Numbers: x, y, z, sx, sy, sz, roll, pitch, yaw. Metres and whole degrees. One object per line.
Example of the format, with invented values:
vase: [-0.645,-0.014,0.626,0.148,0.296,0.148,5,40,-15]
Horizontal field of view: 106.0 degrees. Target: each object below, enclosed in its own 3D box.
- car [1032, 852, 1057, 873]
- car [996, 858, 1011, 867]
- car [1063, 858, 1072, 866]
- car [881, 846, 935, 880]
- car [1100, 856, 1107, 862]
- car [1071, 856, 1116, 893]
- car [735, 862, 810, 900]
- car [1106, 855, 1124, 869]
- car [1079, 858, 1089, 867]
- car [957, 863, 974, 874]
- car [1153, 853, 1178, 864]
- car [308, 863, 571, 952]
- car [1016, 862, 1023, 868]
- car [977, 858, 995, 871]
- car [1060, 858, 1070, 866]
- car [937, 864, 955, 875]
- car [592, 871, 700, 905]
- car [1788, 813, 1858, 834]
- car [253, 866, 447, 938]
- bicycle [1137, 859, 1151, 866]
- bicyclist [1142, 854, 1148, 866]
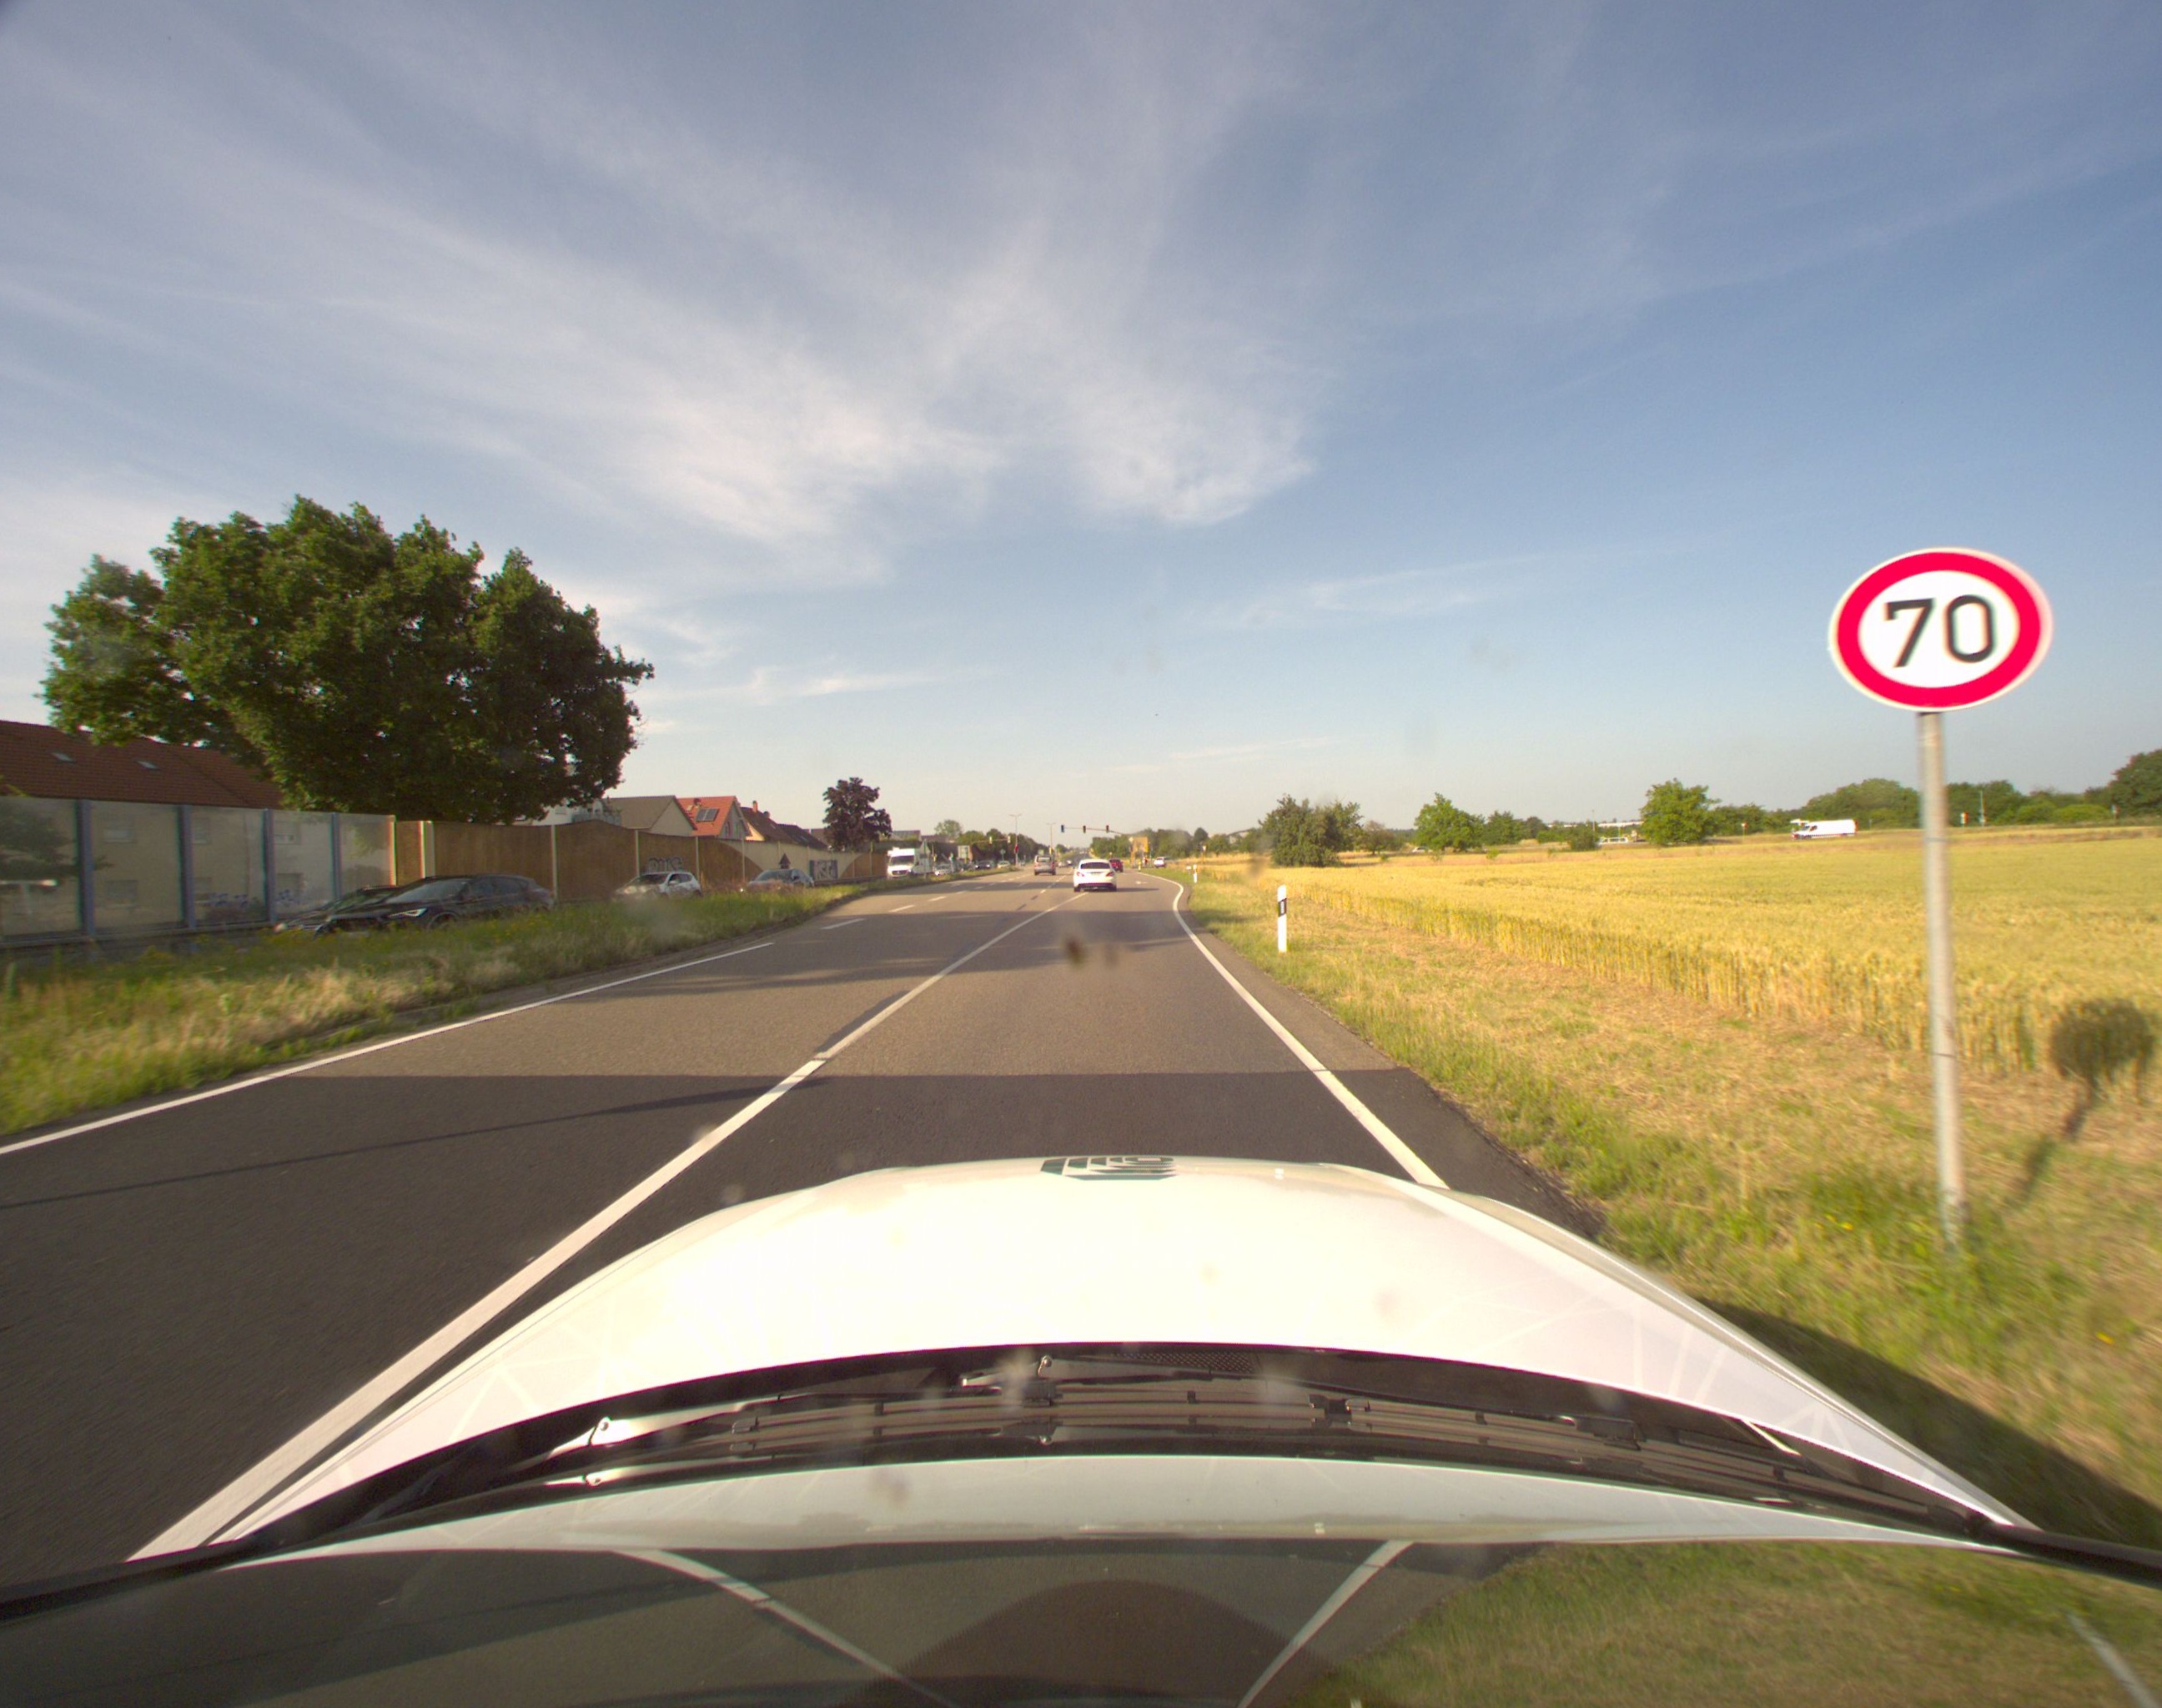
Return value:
car: [-3.407,0.790,76.224,2.018,1.891,4.960,0,0,1]
car: [-12.022,1.346,126.689,1.867,1.321,4.713,0,0,0]
car: [-3.067,1.763,182.593,1.772,1.665,3.659,0,0,-3]
car: [-12.513,0.647,59.492,2.340,2.303,7.190,0,0,0]
car: [5.183,1.100,187.636,1.434,1.284,2.915,0,0,1]
car: [0.560,0.863,36.516,1.888,1.509,4.000,-1,0,0]
car: [-12.540,1.075,33.348,1.642,1.442,3.569,0,0,1]
car: [3.638,0.847,88.130,1.748,1.517,4.001,-2,0,1]
car: [0.596,1.624,159.897,1.835,1.684,3.995,0,0,-3]
car: [-16.163,1.944,113.691,1.704,1.456,4.001,0,0,1]
car: [12.072,0.656,115.799,1.837,1.598,4.025,-1,0,34]
car: [-12.470,0.940,16.307,1.509,1.465,4.659,0,0,1]
car: [-15.998,2.783,211.782,1.779,1.437,4.352,0,0,-3]
car: [-12.110,1.330,103.747,1.725,1.625,4.922,0,0,0]
car: [-2.952,1.478,147.597,1.711,1.492,3.585,0,0,1]
car: [-15.918,1.846,96.054,1.679,1.286,3.146,0,0,0]
car: [-16.514,1.253,31.205,1.662,1.105,4.414,0,0,2]
car: [103.784,-4.285,114.005,6.969,2.795,2.327,0,0,12]
car: [-16.758,1.043,18.878,1.509,1.465,3.235,0,0,2]
bicycle: [9.411,1.247,121.096,2.087,1.089,0.808,0,0,3]
bicyclist: [9.495,0.838,121.079,0.845,1.756,0.799,0,0,1]
